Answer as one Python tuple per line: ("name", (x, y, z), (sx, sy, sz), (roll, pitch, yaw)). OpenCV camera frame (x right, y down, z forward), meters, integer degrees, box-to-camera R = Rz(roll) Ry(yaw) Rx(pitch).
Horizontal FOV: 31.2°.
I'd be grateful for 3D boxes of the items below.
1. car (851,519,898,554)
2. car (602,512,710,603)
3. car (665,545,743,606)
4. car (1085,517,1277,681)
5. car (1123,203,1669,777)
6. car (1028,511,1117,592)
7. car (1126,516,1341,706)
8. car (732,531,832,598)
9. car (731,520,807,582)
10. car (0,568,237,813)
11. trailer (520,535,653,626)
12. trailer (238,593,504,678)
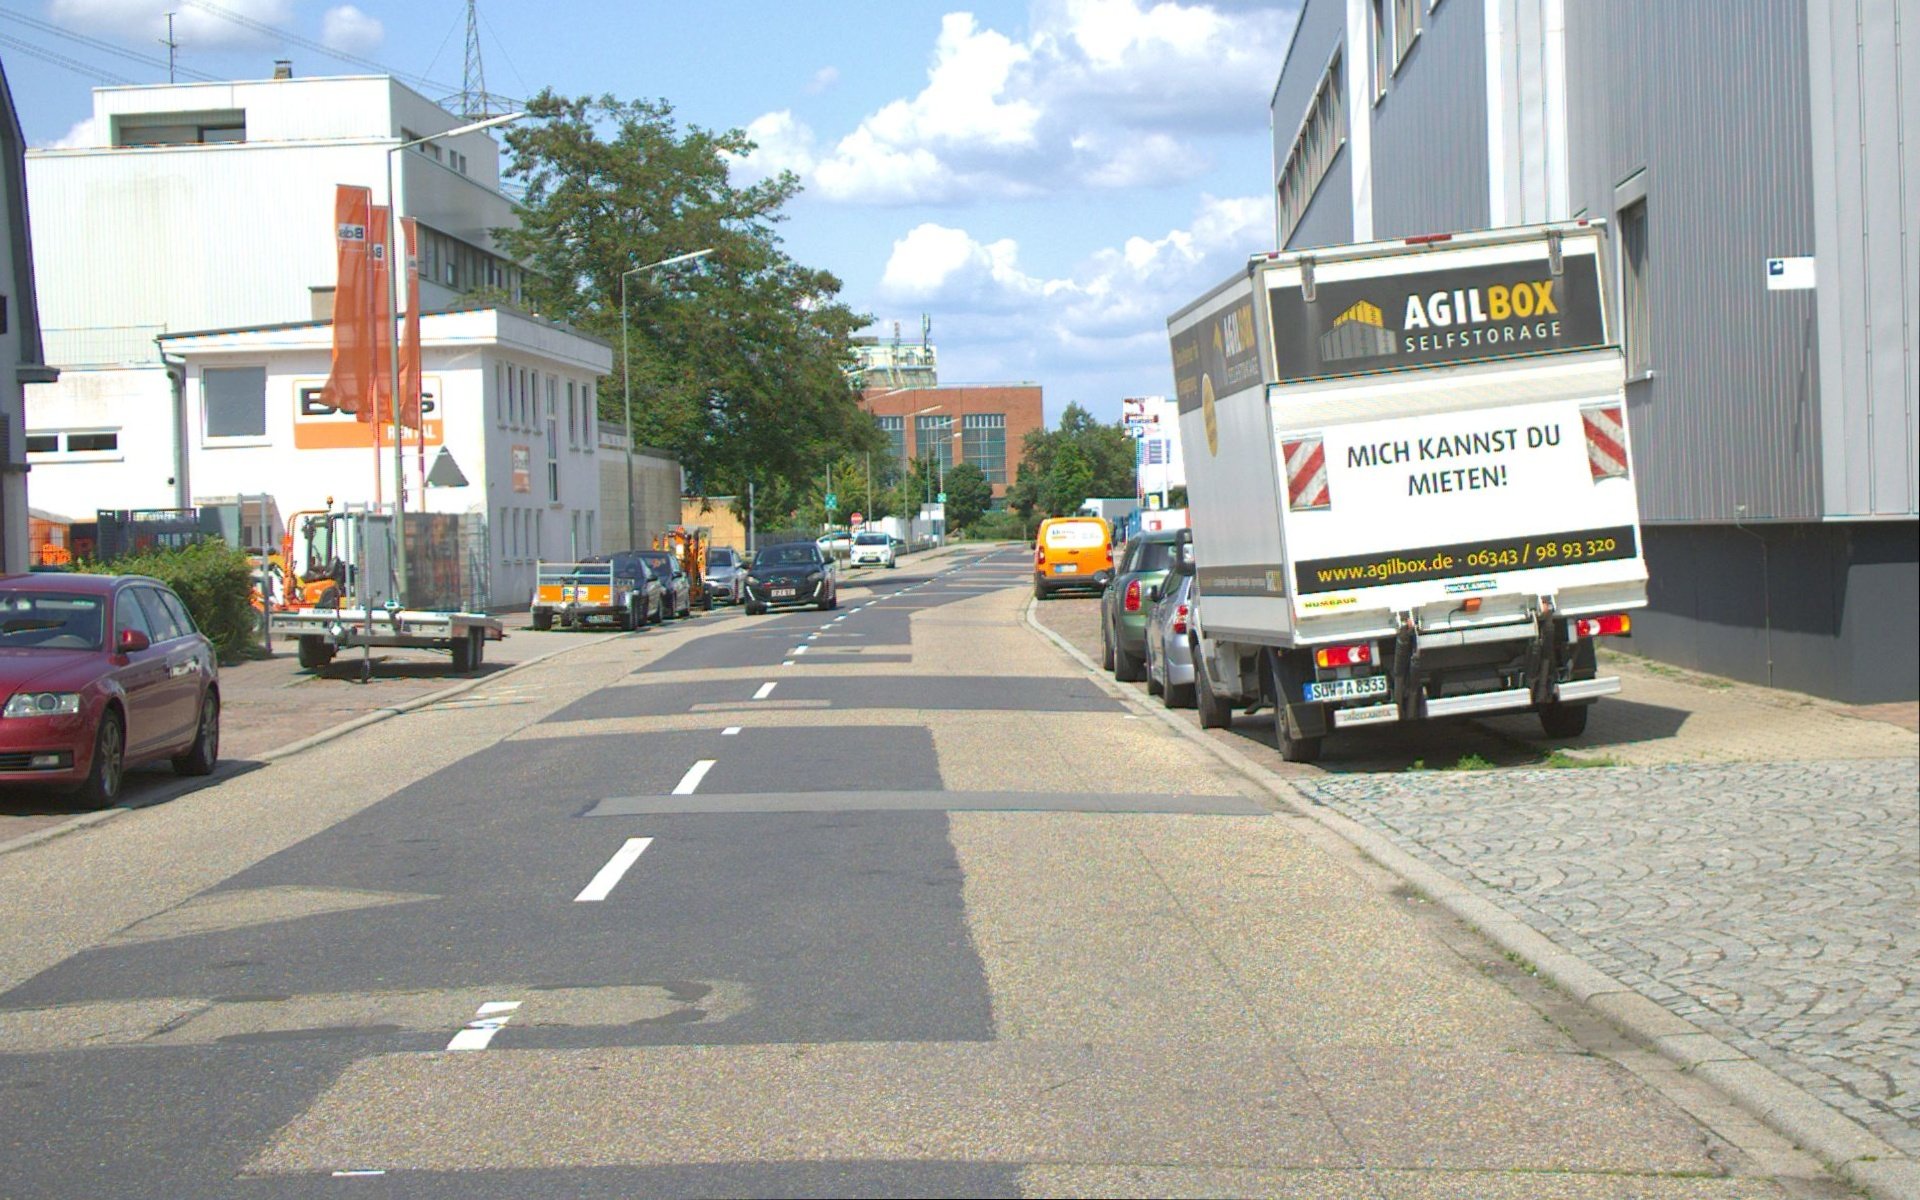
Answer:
("car", (-3.849, -2.873, 155.323), (1.810, 1.558, 4.000), (0, 1, 3))
("car", (-6.899, -0.972, 78.331), (1.993, 2.007, 4.000), (0, 1, 2))
("car", (-6.218, -0.609, 83.853), (1.668, 1.442, 3.454), (0, 1, 0))
("car", (2.312, -0.037, 36.782), (1.768, 1.606, 3.873), (-2, 1, 0))
("car", (2.841, -0.724, 24.413), (2.388, 3.351, 6.646), (-4, 1, -4))
("car", (2.576, -1.113, 78.940), (1.940, 1.736, 4.376), (-2, 1, 2))
("car", (2.443, 0.054, 31.519), (1.567, 1.568, 4.069), (-2, 1, 0))
("car", (-3.660, -0.749, 71.237), (1.918, 1.280, 3.615), (-2, 1, -1))
("car", (-5.630, -1.452, 101.569), (1.922, 1.788, 4.000), (0, 1, 2))
("car", (-6.189, 0.522, 22.968), (1.762, 1.442, 4.741), (0, 1, 0))
("trailer", (-6.774, -0.390, 62.738), (1.993, 1.551, 4.254), (-1, 1, -1))
("trailer", (-7.047, 0.397, 41.746), (2.362, 0.890, 5.569), (0, 1, -1))
